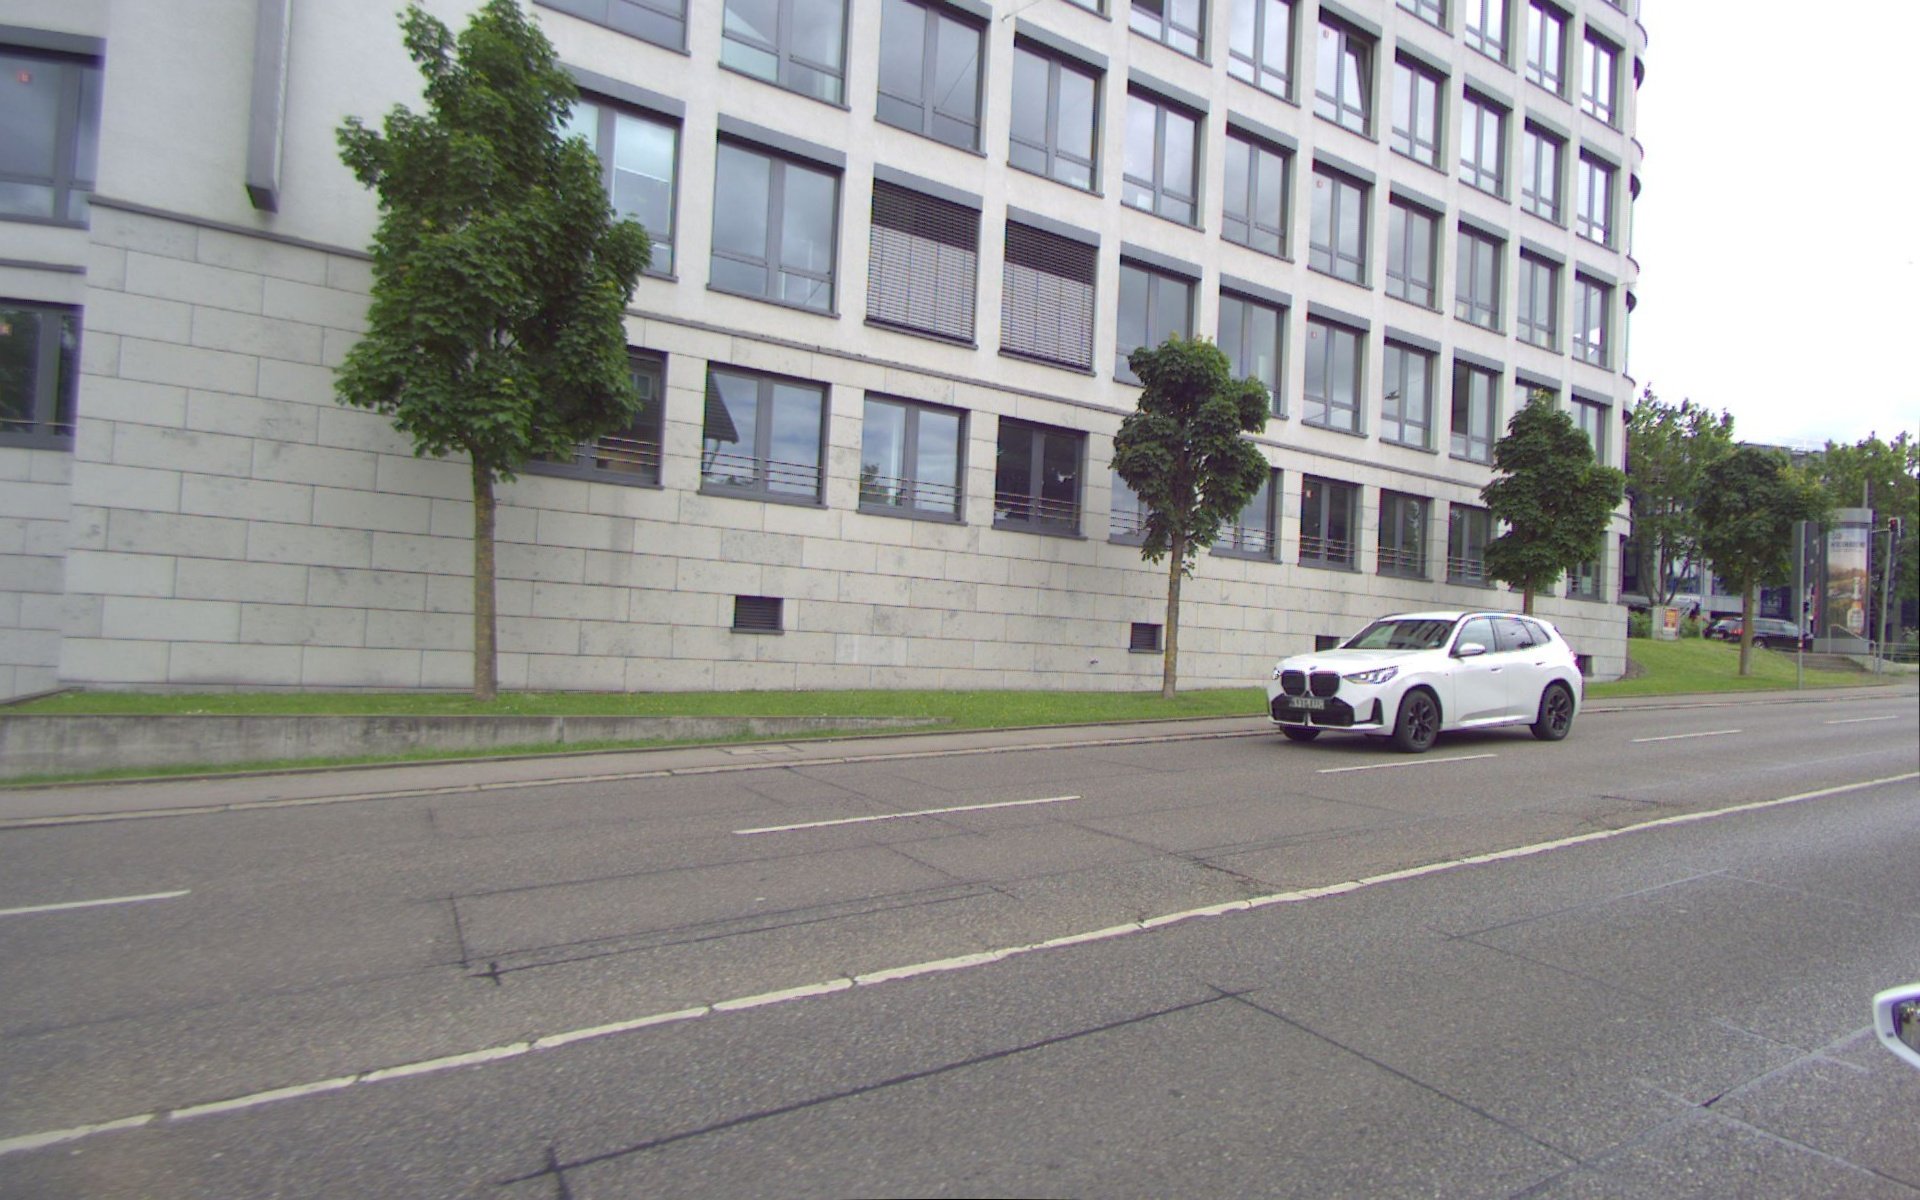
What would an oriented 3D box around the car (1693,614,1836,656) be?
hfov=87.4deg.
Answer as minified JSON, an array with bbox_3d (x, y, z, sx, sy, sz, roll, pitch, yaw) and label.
[{"bbox_3d":[31.777,1.363,39.757,4.356,1.483,1.780,1,1,-5],"label":"car"}]

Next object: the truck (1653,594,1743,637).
[{"bbox_3d":[44.071,0.896,60.070,3.923,2.419,1.999,1,1,-4],"label":"truck"}]

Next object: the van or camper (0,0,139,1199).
[{"bbox_3d":[-4.270,0.055,0.236,5.897,2.697,2.331,3,0,-31],"label":"van or camper"}]

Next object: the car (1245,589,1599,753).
[{"bbox_3d":[6.072,0.874,13.088,4.598,1.812,1.861,1,-3,-30],"label":"car"}]
